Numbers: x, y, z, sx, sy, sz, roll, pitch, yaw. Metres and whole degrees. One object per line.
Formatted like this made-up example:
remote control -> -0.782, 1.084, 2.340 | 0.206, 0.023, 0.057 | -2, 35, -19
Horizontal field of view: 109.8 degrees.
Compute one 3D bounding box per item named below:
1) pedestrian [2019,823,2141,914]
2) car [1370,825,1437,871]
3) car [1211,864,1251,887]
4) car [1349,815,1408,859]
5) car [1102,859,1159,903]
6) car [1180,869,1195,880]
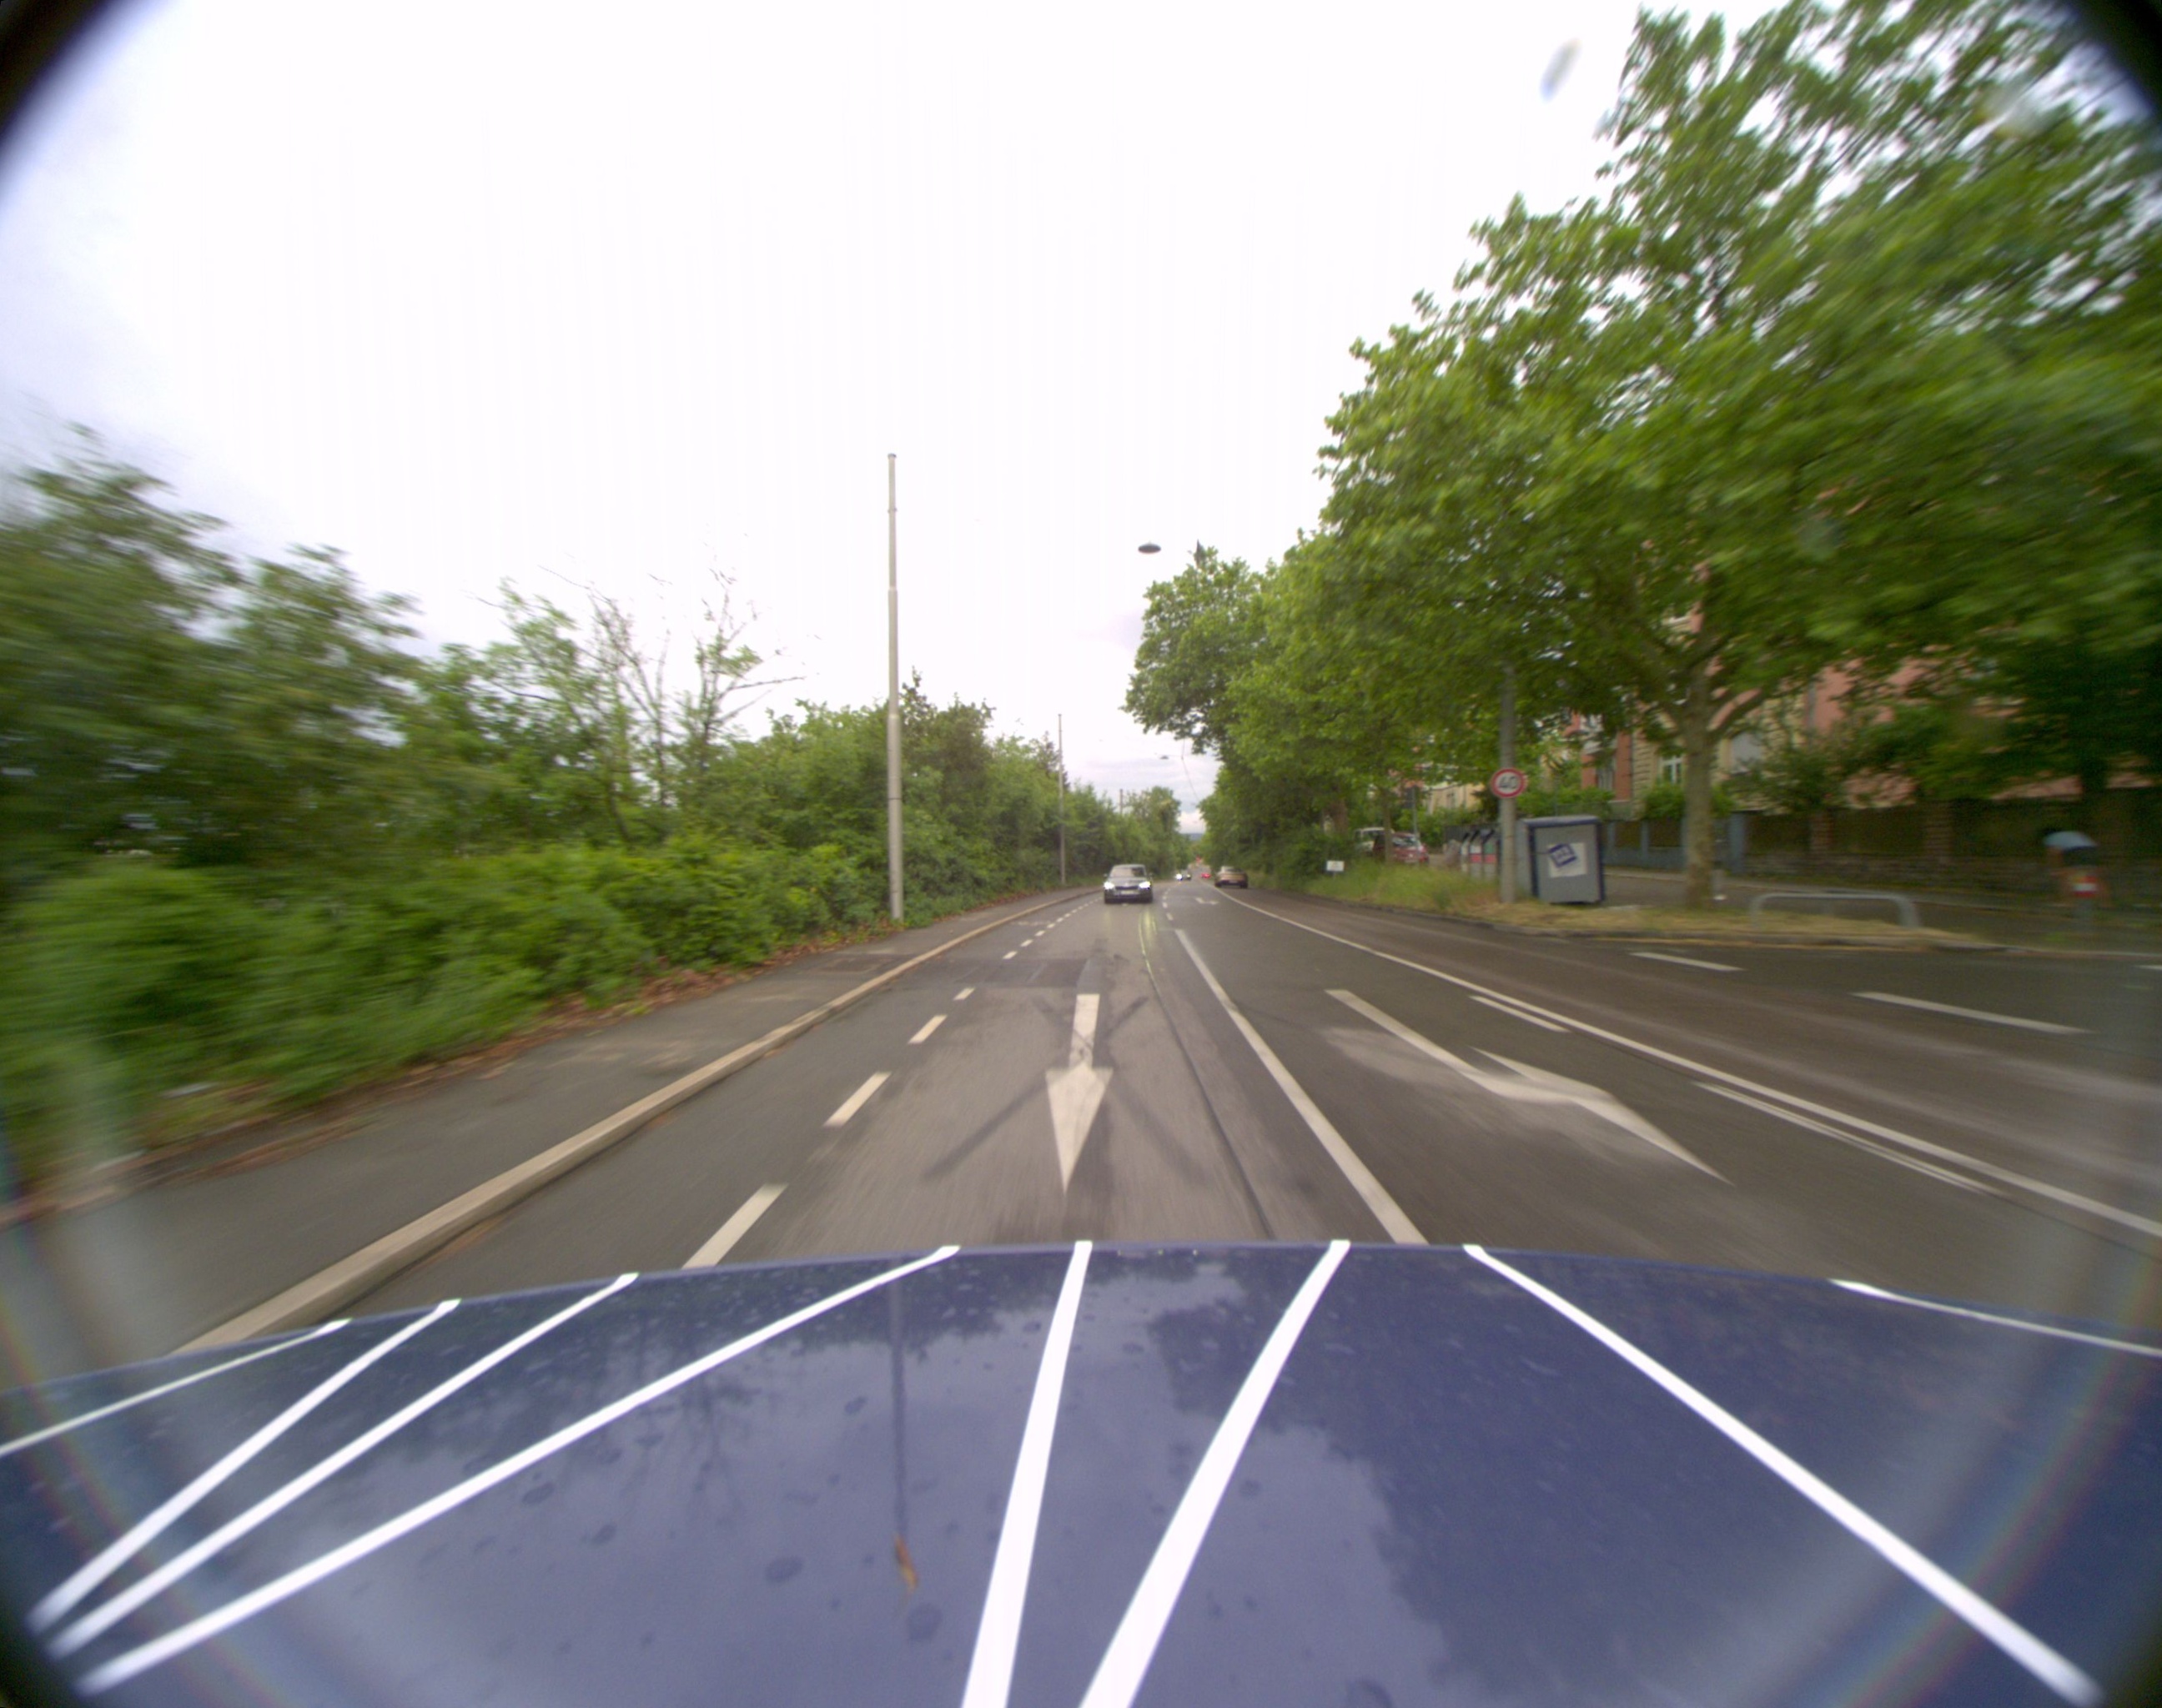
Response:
pedestrian -> 15.612, 0.234, 11.903 | 0.792, 1.346, 0.792 | -2, -1, 11
car -> 14.332, -0.209, 34.026 | 1.833, 1.832, 4.632 | -2, -1, 11
car -> 9.684, 1.384, 49.402 | 2.075, 1.344, 4.716 | -2, -1, 6
car -> 15.345, -0.828, 39.432 | 1.997, 2.001, 4.632 | -2, -1, 11
car -> 1.961, 1.014, 29.468 | 1.980, 1.496, 4.002 | -2, -1, 5
car -> 14.976, 2.819, 106.515 | 1.997, 1.433, 4.003 | -2, -1, 8
